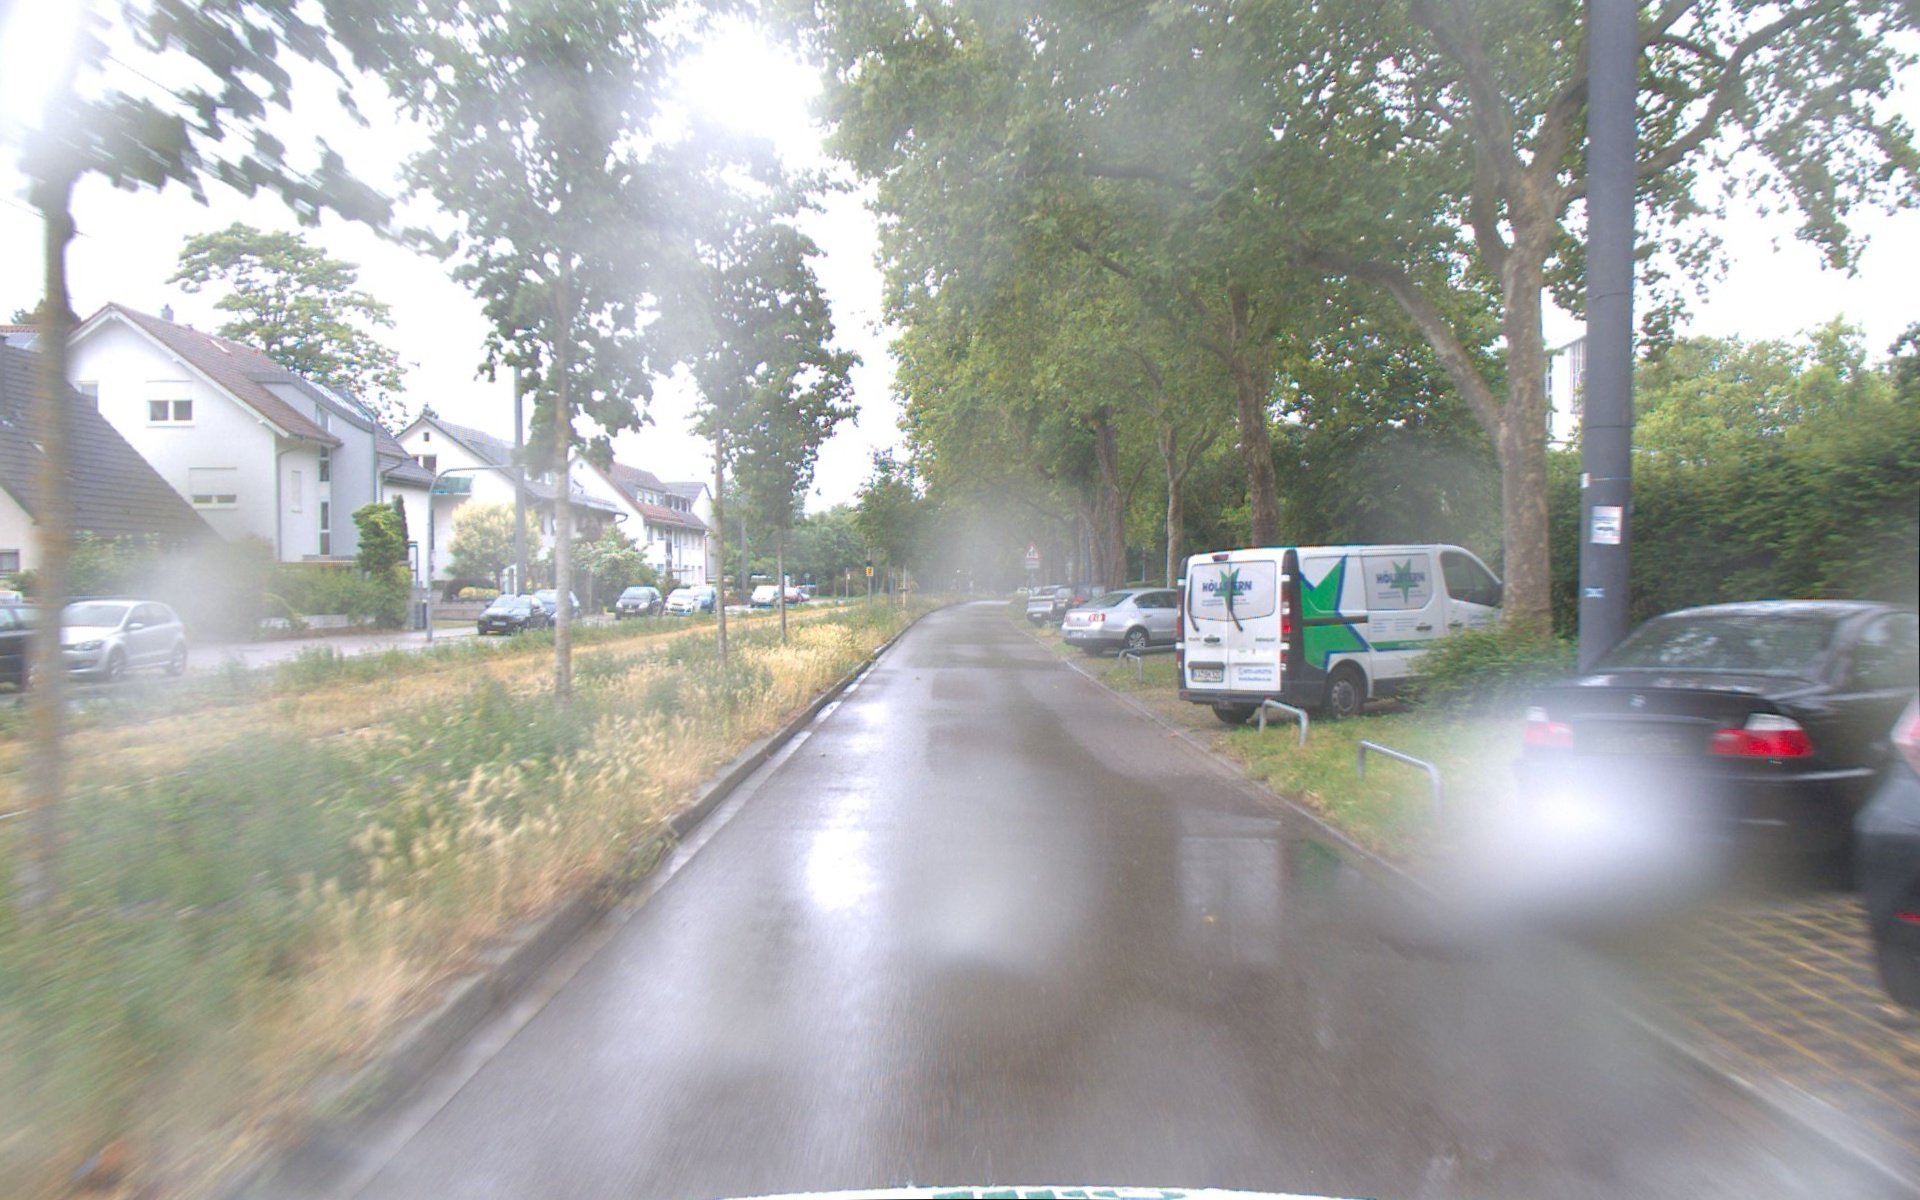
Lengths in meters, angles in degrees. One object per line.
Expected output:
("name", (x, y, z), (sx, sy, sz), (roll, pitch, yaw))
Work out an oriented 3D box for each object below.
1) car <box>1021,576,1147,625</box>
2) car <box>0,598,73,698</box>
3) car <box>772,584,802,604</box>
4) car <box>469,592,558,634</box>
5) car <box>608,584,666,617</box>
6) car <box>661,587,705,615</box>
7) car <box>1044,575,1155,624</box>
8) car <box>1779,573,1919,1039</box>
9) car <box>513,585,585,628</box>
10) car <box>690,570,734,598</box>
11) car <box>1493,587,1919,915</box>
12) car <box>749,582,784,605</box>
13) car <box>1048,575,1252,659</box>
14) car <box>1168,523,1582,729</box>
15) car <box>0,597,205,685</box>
("car", (4.775, 0.006, 63.432), (4.724, 1.697, 1.969), (-2, 1, -37))
("car", (-15.818, 0.762, 25.320), (1.952, 1.481, 4.532), (1, 1, 1))
("car", (-14.422, -0.502, 138.099), (1.952, 1.514, 4.206), (1, 1, 1))
("car", (-16.025, 0.446, 59.582), (1.952, 1.374, 4.241), (1, 1, 1))
("car", (-15.913, 0.000, 81.701), (1.952, 1.542, 4.206), (1, 1, 1))
("car", (-15.629, 0.049, 93.517), (1.759, 1.514, 3.598), (1, 1, 1))
("car", (4.883, -0.029, 57.750), (3.668, 1.593, 1.601), (-2, 1, -33))
("car", (4.808, 0.622, 6.200), (3.371, 1.544, 1.825), (-3, 0, -38))
("car", (-16.024, 0.225, 64.620), (1.835, 1.577, 3.870), (1, 1, 0))
("car", (-15.377, -1.012, 102.818), (1.952, 1.642, 4.414), (1, 1, 1))
("car", (4.925, 0.645, 9.303), (4.266, 1.408, 1.715), (-1, 1, -41))
("car", (-14.499, -0.527, 124.147), (1.952, 1.608, 4.518), (1, 1, 1))
("car", (4.425, 0.349, 38.230), (4.504, 1.571, 1.867), (-4, 2, -33))
("car", (4.955, 0.200, 19.414), (4.974, 2.048, 1.975), (-3, 2, -36))
("car", (-15.996, 0.712, 30.905), (1.953, 1.435, 3.971), (1, 1, -1))
